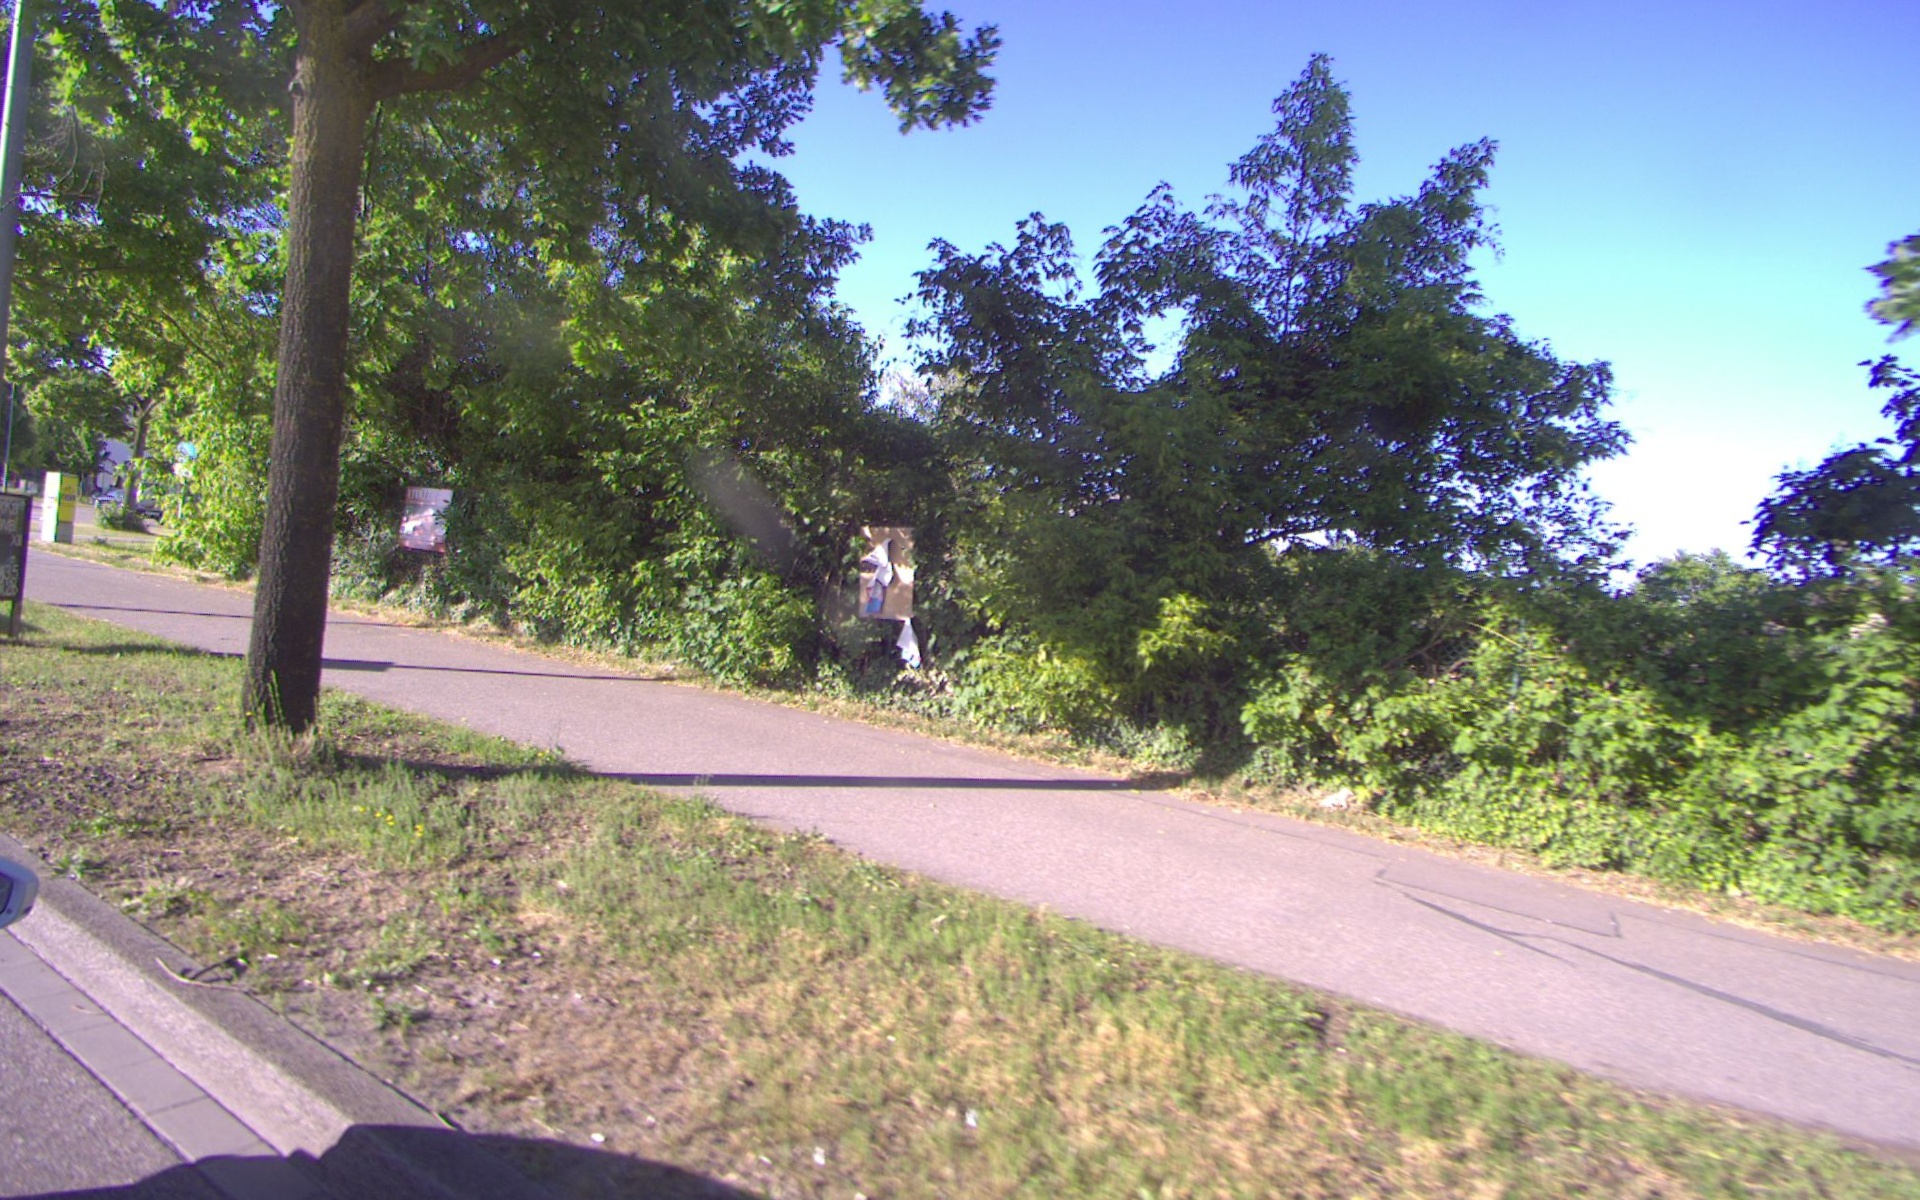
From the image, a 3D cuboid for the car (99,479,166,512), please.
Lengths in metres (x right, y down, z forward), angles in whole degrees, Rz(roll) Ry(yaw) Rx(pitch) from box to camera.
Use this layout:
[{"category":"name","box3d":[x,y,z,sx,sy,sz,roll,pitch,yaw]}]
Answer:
[{"category":"car","box3d":[-52.742,-6.658,64.131,4.335,1.559,1.995,8,1,33]}]

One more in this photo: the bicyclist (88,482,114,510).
[{"category":"bicyclist","box3d":[-65.766,-7.947,77.024,1.007,1.874,0.885,6,-1,-2]}]

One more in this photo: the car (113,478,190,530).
[{"category":"car","box3d":[-35.480,-4.213,44.120,4.691,1.920,1.992,6,0,44]}]

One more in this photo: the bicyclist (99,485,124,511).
[{"category":"bicyclist","box3d":[-66.226,-7.954,78.515,1.007,1.874,0.885,6,-1,-2]}]

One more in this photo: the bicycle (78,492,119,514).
[{"category":"bicycle","box3d":[-65.949,-7.432,77.017,2.169,1.280,0.885,7,-1,-3]}]
